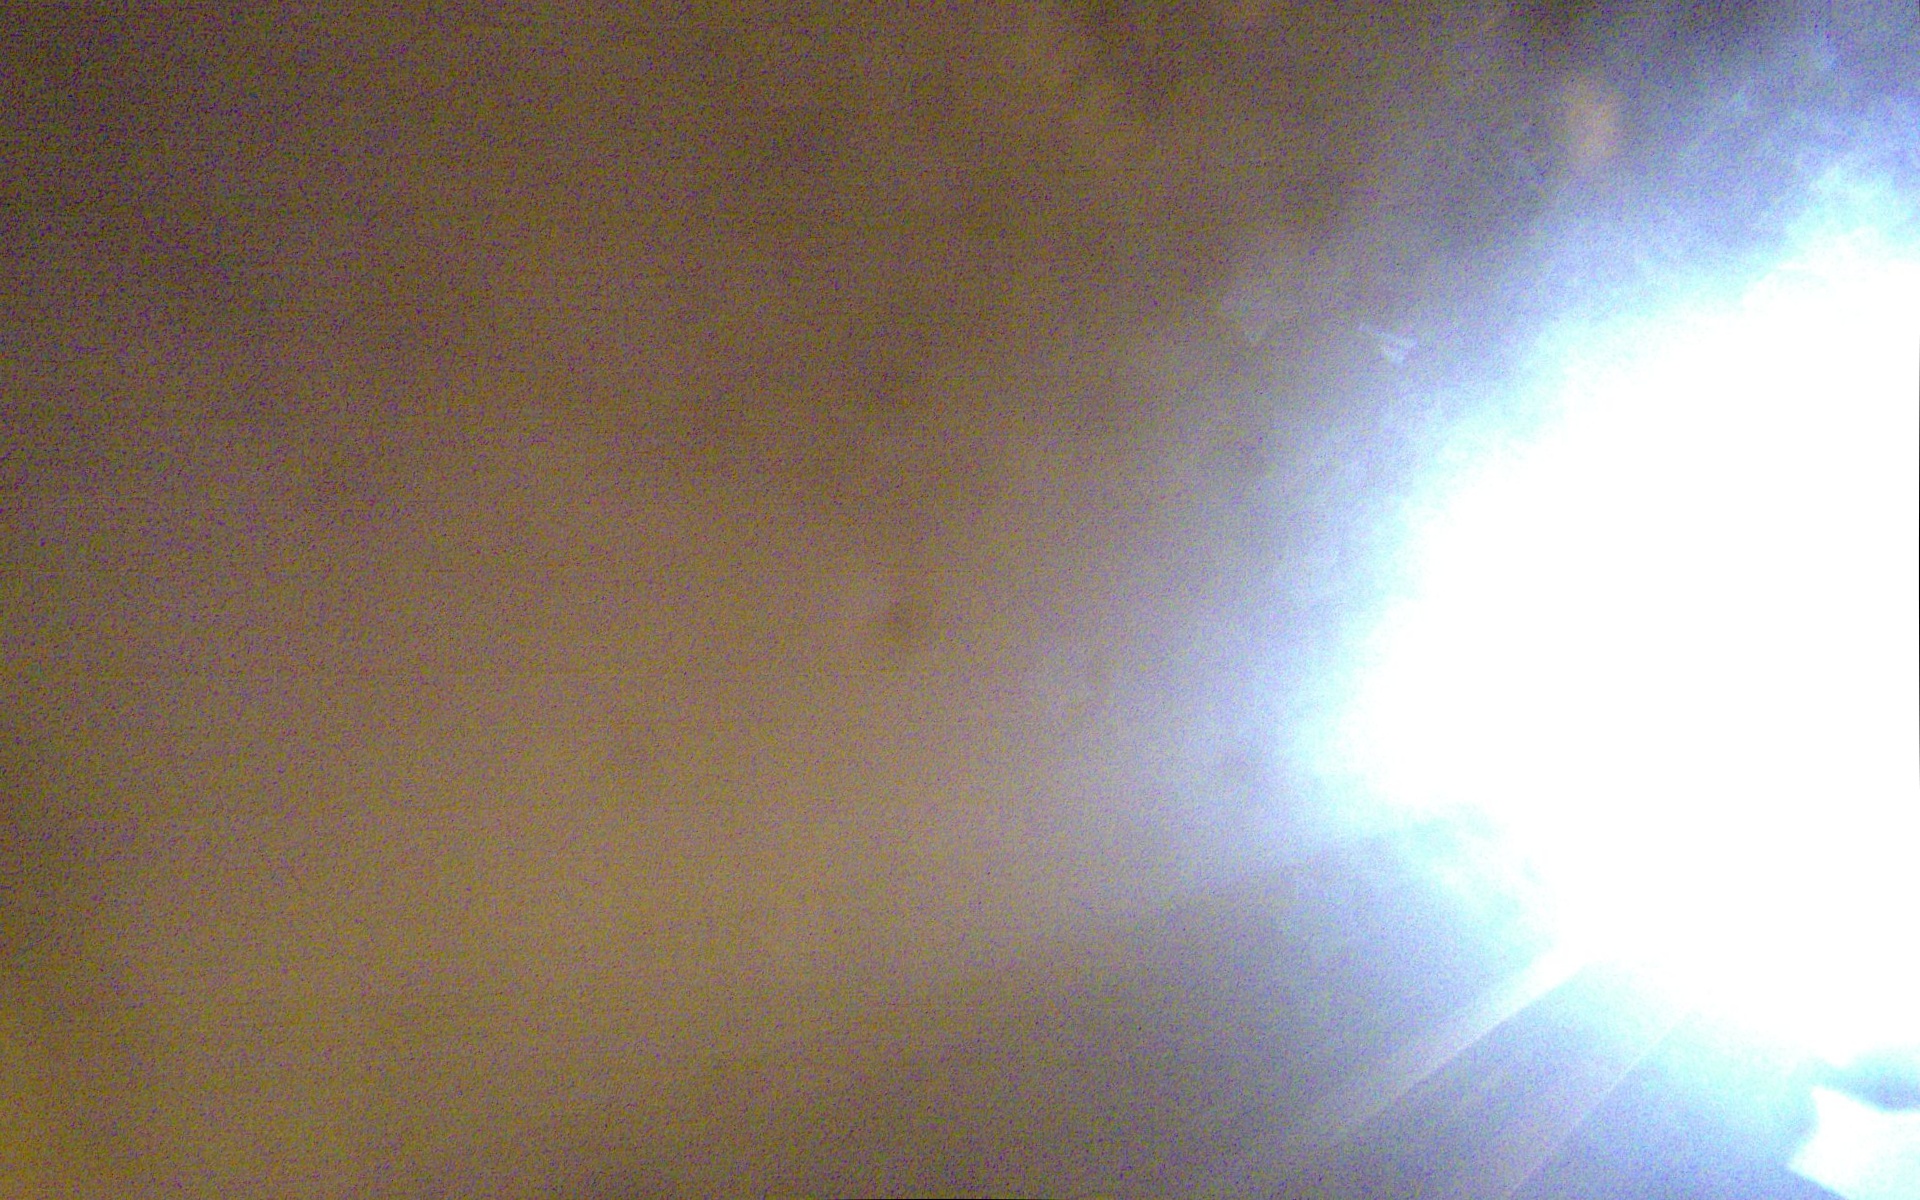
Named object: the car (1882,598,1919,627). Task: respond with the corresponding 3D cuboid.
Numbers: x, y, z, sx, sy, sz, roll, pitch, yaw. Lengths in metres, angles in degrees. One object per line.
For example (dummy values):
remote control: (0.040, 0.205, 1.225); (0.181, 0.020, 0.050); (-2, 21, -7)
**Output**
car: (69.068, 0.898, 74.179); (1.890, 2.039, 3.945); (1, 1, 38)
